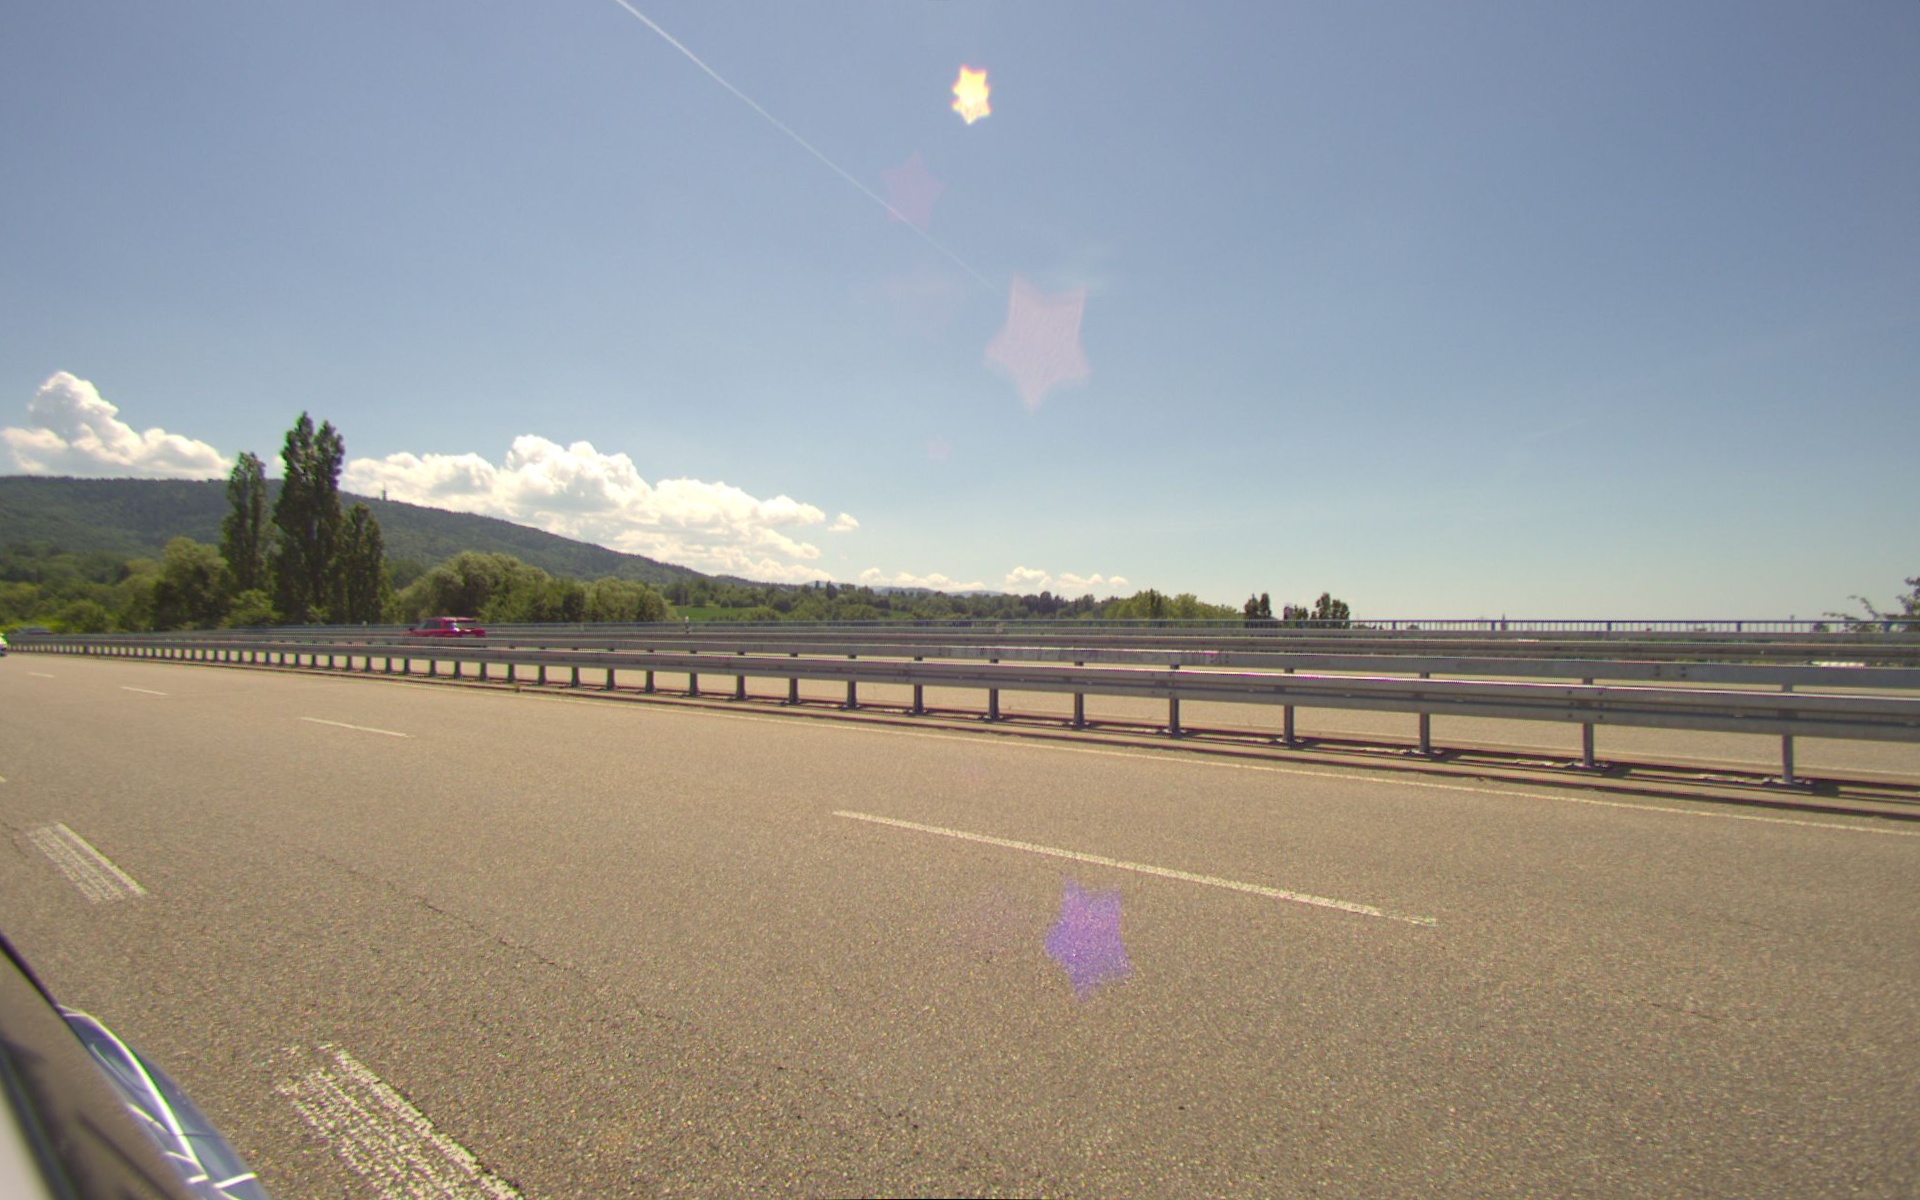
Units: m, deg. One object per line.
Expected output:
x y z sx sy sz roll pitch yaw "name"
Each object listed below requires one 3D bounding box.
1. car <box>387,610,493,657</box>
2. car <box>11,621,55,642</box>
-20.010 1.255 38.856 5.046 1.680 1.825 -1 -1 40 "car"
-74.204 2.492 80.996 5.044 1.680 1.825 -1 -1 38 "car"
